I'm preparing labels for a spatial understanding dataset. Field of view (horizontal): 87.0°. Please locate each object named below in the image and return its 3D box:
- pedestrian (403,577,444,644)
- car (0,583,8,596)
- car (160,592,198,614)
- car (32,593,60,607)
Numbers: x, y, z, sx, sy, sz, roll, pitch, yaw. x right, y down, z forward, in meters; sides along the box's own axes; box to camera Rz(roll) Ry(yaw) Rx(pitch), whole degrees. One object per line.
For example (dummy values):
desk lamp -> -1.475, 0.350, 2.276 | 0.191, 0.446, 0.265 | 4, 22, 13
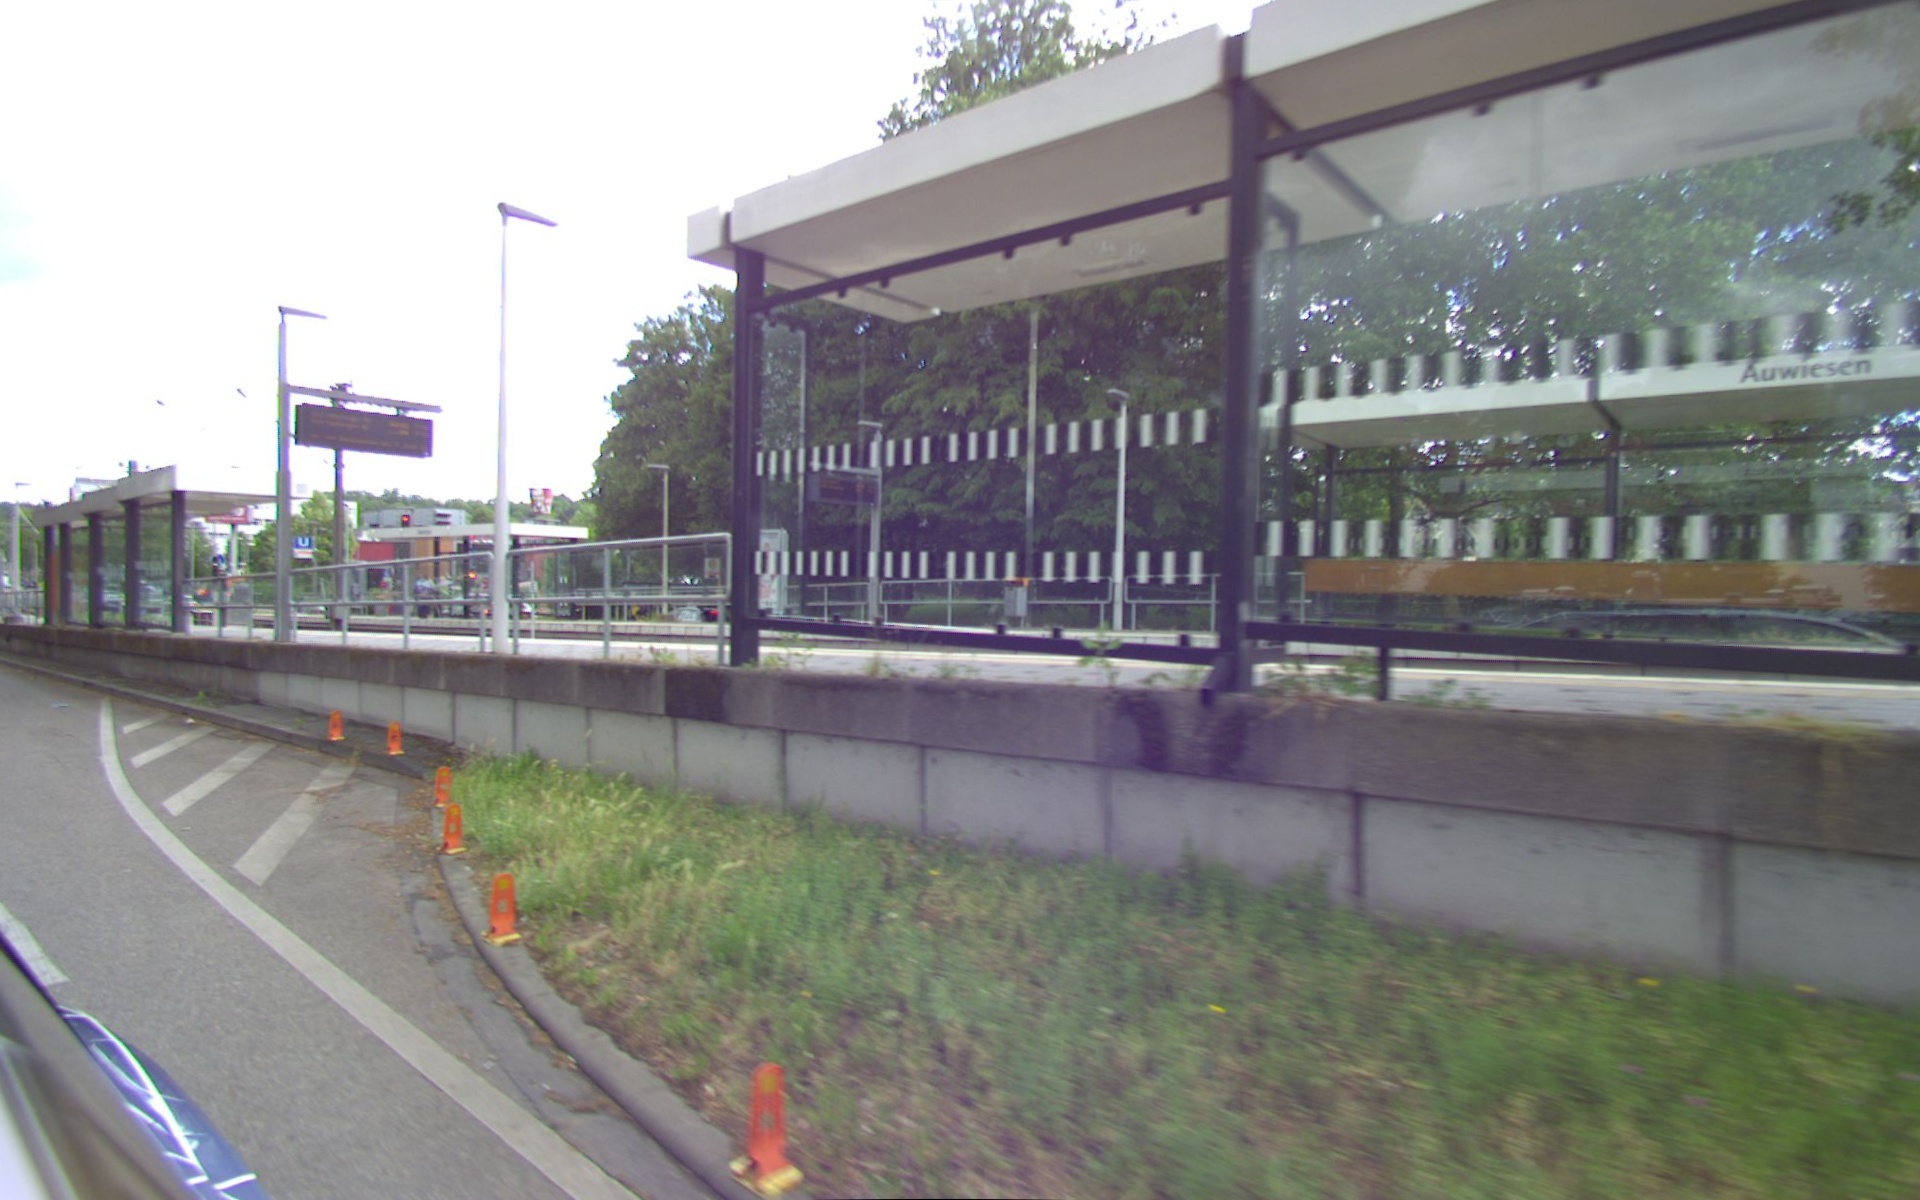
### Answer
pedestrian -> -17.921, 0.333, 33.804 | 0.976, 2.202, 0.959 | 0, 1, 42
car -> -157.436, -1.781, 165.435 | 4.879, 2.029, 1.975 | 1, 0, 38
car -> -66.617, 0.245, 86.294 | 4.397, 1.764, 1.692 | 2, 0, 41
car -> -101.065, 0.029, 111.848 | 4.047, 1.457, 1.580 | 1, -1, 37
